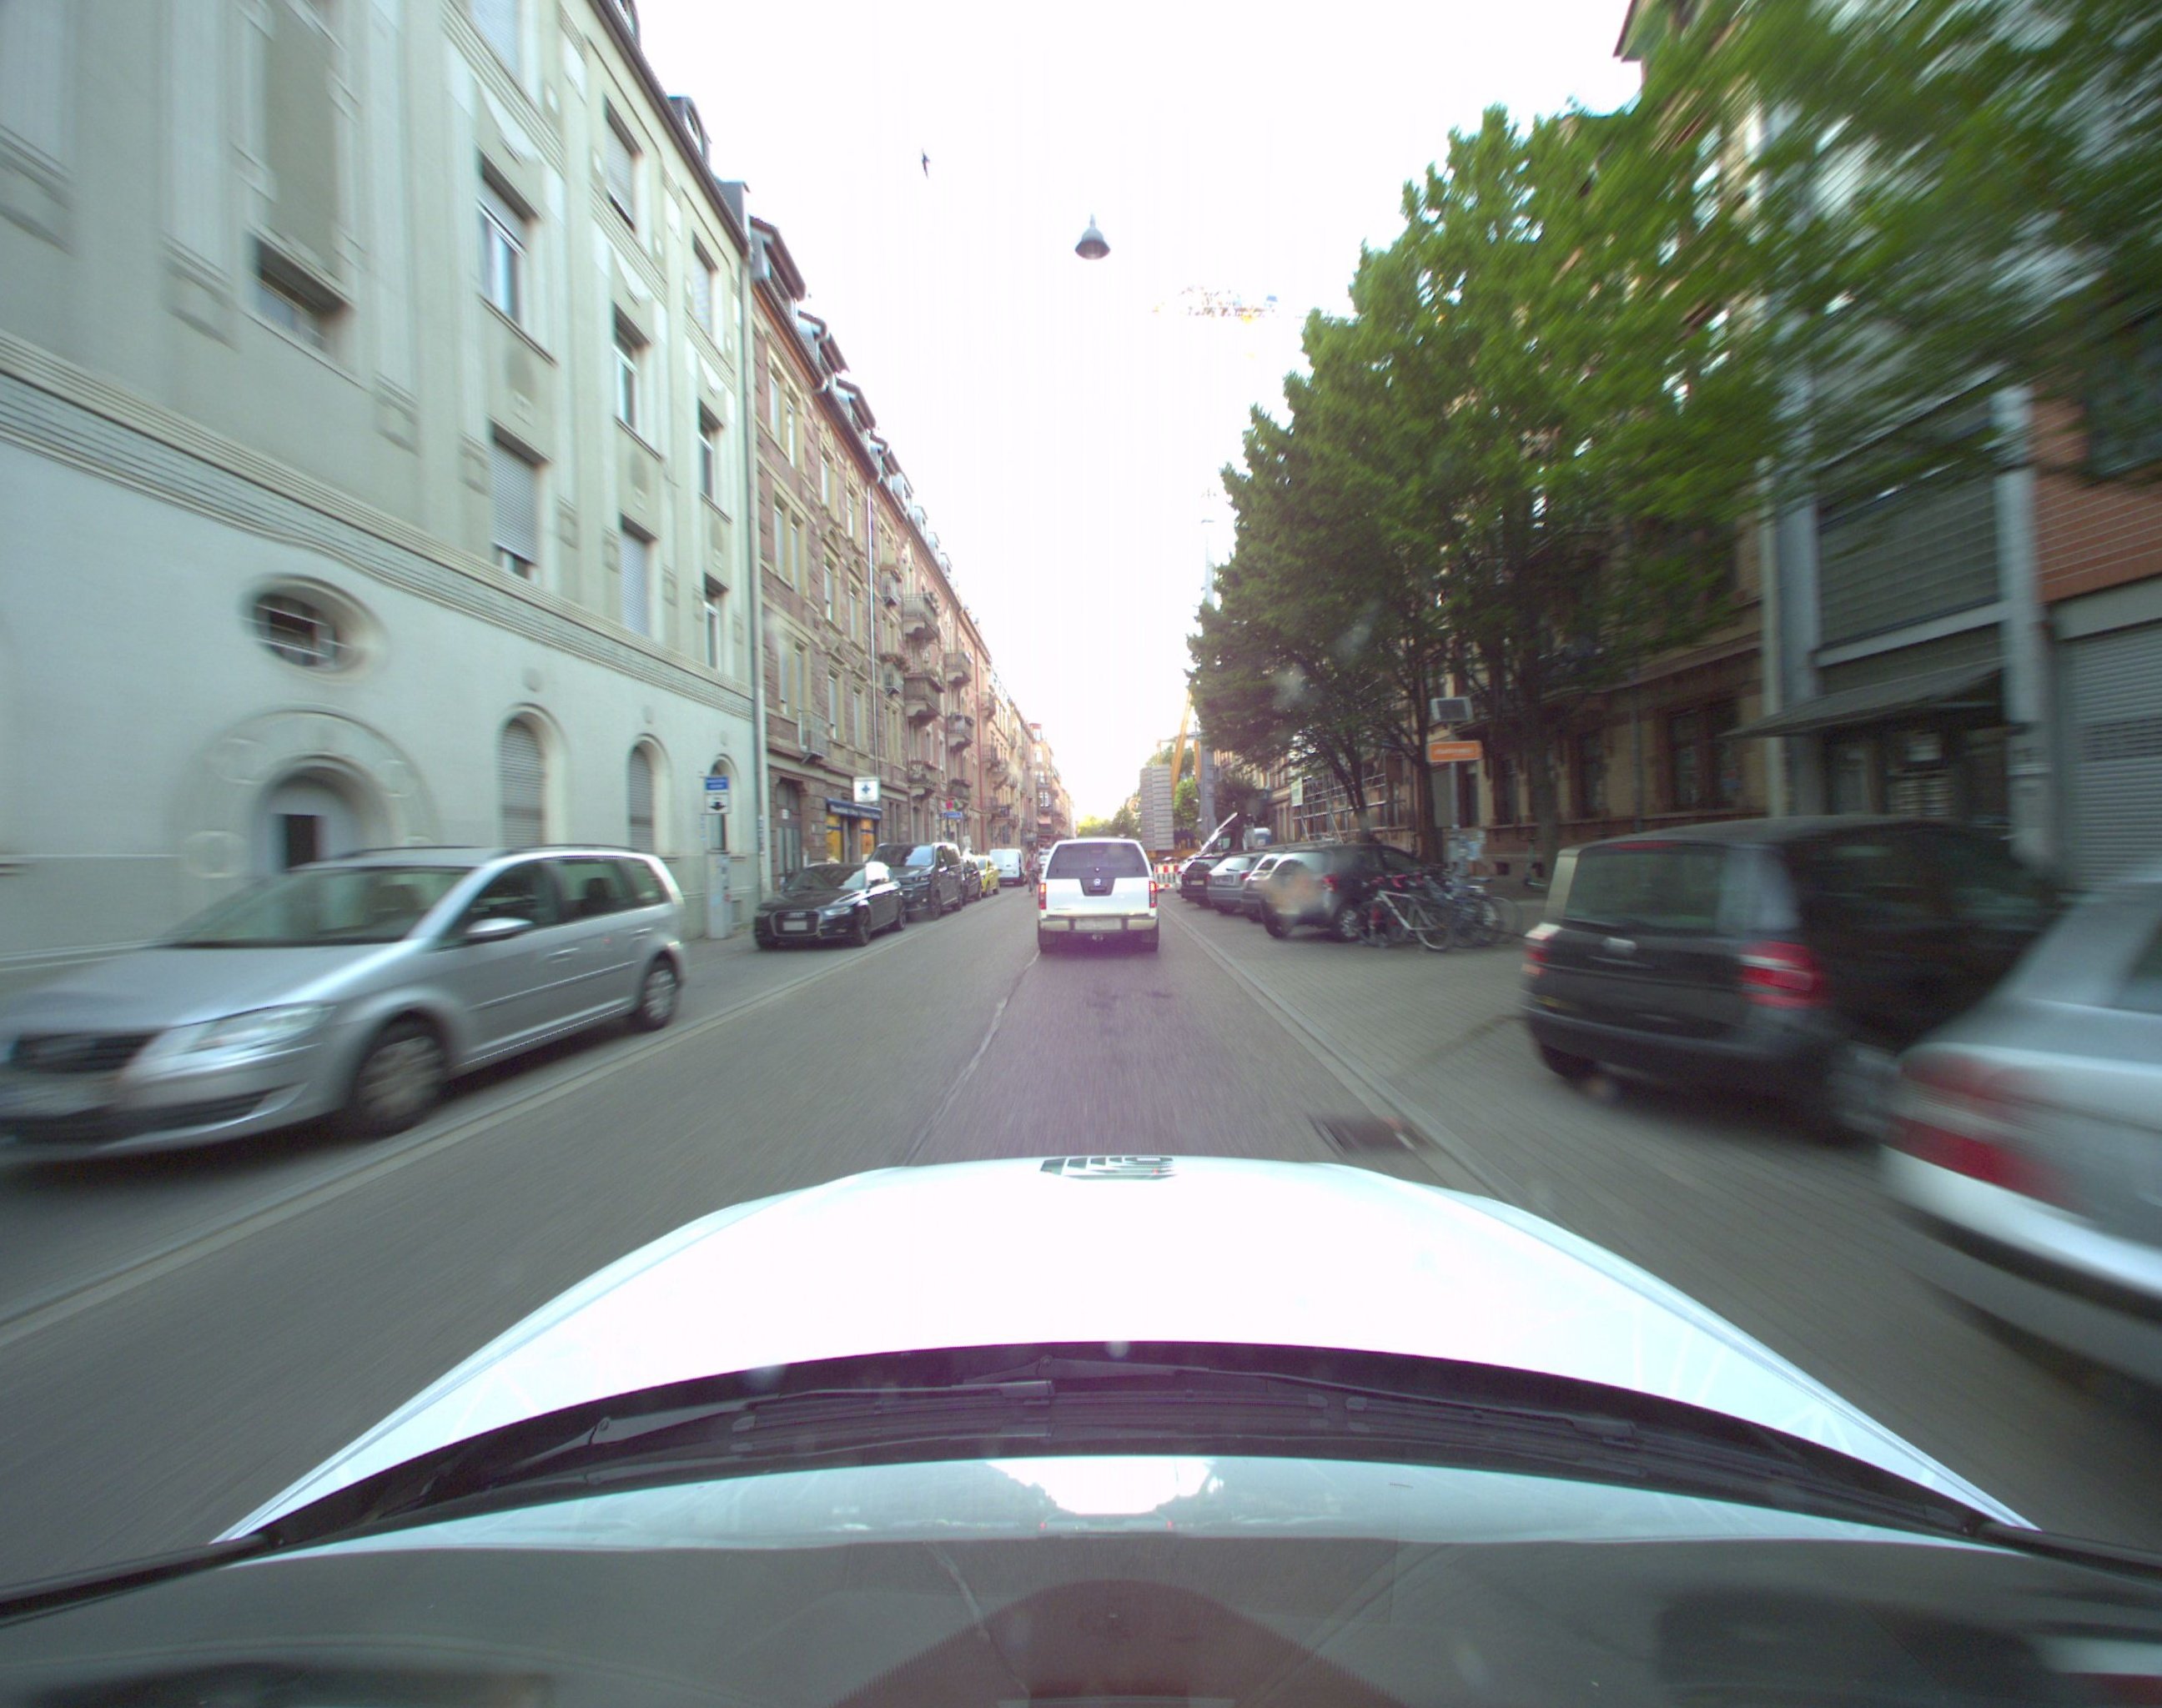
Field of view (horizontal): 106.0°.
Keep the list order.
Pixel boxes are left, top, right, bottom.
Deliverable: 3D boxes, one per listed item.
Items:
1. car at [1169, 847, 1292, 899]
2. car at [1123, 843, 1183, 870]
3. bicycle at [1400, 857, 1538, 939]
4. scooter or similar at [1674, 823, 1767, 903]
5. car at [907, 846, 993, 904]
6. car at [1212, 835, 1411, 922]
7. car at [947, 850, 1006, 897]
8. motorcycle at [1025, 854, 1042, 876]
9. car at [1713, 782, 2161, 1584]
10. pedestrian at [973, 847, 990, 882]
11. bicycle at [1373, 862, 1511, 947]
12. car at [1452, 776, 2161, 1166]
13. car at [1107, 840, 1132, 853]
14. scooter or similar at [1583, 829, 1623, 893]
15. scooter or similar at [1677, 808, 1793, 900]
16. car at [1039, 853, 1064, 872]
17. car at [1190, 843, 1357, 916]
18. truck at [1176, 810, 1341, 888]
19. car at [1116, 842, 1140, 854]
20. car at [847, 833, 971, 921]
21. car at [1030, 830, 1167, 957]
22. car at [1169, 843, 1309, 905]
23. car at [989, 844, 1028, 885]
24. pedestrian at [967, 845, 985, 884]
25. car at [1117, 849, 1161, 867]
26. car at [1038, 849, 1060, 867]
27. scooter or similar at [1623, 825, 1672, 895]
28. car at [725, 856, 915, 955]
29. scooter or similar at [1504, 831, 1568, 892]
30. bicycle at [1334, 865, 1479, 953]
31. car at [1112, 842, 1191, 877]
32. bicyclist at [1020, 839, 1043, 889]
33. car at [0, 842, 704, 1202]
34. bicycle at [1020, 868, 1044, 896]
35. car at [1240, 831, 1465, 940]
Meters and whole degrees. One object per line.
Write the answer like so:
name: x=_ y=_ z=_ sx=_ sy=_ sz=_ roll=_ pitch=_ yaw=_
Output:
car: x=4.654 y=0.544 z=25.308 sx=3.571 sy=1.464 sz=1.596 roll=-1 pitch=0 yaw=-30
car: x=5.187 y=0.186 z=58.700 sx=4.177 sy=1.780 sz=1.821 roll=-1 pitch=0 yaw=3
bicycle: x=5.682 y=0.637 z=12.058 sx=0.560 sy=1.107 sz=1.841 roll=-1 pitch=-2 yaw=-27
scooter or similar: x=10.720 y=0.138 z=13.716 sx=0.409 sy=1.218 sz=1.781 roll=-6 pitch=-1 yaw=13
car: x=-4.174 y=0.623 z=26.598 sx=1.897 sy=1.663 sz=4.070 roll=-2 pitch=0 yaw=3
car: x=4.961 y=0.482 z=17.509 sx=3.843 sy=1.530 sz=1.748 roll=-3 pitch=0 yaw=-25
car: x=-3.885 y=0.688 z=30.712 sx=1.493 sy=1.593 sz=3.859 roll=-2 pitch=0 yaw=3
motorcycle: x=-3.191 y=0.733 z=55.172 sx=0.833 sy=1.416 sz=2.550 roll=-1 pitch=0 yaw=2
car: x=4.098 y=0.543 z=2.336 sx=4.394 sy=1.534 sz=1.792 roll=-2 pitch=0 yaw=-25
pedestrian: x=-5.456 y=0.565 z=44.567 sx=0.611 sy=1.869 sz=0.744 roll=-1 pitch=0 yaw=24
bicycle: x=5.140 y=0.698 z=11.729 sx=0.560 sy=1.107 sz=1.841 roll=-1 pitch=-2 yaw=-27
car: x=4.585 y=0.455 z=5.064 sx=3.999 sy=1.636 sz=1.747 roll=-3 pitch=0 yaw=-19
car: x=7.226 y=-1.384 z=152.310 sx=4.568 sy=2.177 sz=1.821 roll=-1 pitch=0 yaw=3
scooter or similar: x=10.531 y=0.119 z=16.455 sx=0.365 sy=1.218 sz=1.630 roll=-5 pitch=-1 yaw=25
scooter or similar: x=9.754 y=-0.005 z=12.229 sx=0.464 sy=1.217 sz=1.781 roll=-9 pitch=-2 yaw=13
car: x=-2.483 y=0.743 z=69.635 sx=1.785 sy=1.530 sz=4.002 roll=-1 pitch=0 yaw=2
car: x=4.696 y=0.567 z=19.737 sx=3.853 sy=1.436 sz=1.744 roll=-4 pitch=1 yaw=-34
truck: x=7.166 y=-0.153 z=33.448 sx=6.295 sy=2.977 sz=2.265 roll=-1 pitch=-3 yaw=2
car: x=9.027 y=-1.157 z=156.062 sx=4.568 sy=2.177 sz=1.821 roll=-1 pitch=0 yaw=3
car: x=-4.186 y=0.502 z=20.664 sx=1.897 sy=1.925 sz=4.949 roll=-1 pitch=0 yaw=2
car: x=0.350 y=0.559 z=13.894 sx=1.925 sy=1.794 sz=4.625 roll=-1 pitch=0 yaw=2
car: x=4.404 y=0.491 z=22.455 sx=3.912 sy=1.530 sz=1.619 roll=-1 pitch=0 yaw=-38
car: x=-3.546 y=0.503 z=40.261 sx=1.554 sy=1.921 sz=3.857 roll=0 pitch=0 yaw=1
pedestrian: x=-5.007 y=0.497 z=38.911 sx=0.736 sy=1.869 sz=0.618 roll=-1 pitch=0 yaw=0
car: x=5.555 y=0.340 z=78.391 sx=4.177 sy=1.622 sz=1.821 roll=-1 pitch=0 yaw=3
car: x=-2.936 y=0.346 z=75.245 sx=1.704 sy=1.530 sz=4.001 roll=-1 pitch=0 yaw=1
scooter or similar: x=10.573 y=0.093 z=15.241 sx=0.365 sy=1.218 sz=1.714 roll=-5 pitch=-1 yaw=25
car: x=-4.530 y=0.809 z=14.954 sx=1.905 sy=1.472 sz=4.535 roll=-1 pitch=0 yaw=1
scooter or similar: x=10.147 y=0.162 z=18.208 sx=0.510 sy=1.242 sz=1.351 roll=-8 pitch=0 yaw=0
bicycle: x=4.499 y=0.743 z=11.400 sx=0.696 sy=1.107 sz=1.841 roll=-1 pitch=-2 yaw=-28
car: x=3.905 y=0.314 z=44.635 sx=4.173 sy=1.780 sz=1.823 roll=-1 pitch=0 yaw=6
bicyclist: x=-1.876 y=0.377 z=30.919 sx=0.798 sy=1.849 sz=0.943 roll=-1 pitch=0 yaw=-1
car: x=-4.690 y=0.739 z=5.766 sx=1.987 sy=1.591 sz=4.314 roll=0 pitch=0 yaw=1
bicycle: x=-1.858 y=1.052 z=30.873 sx=0.798 sy=0.947 sz=2.004 roll=-1 pitch=0 yaw=-1
car: x=4.616 y=0.451 z=13.797 sx=3.418 sy=1.474 sz=1.757 roll=-4 pitch=1 yaw=-30
